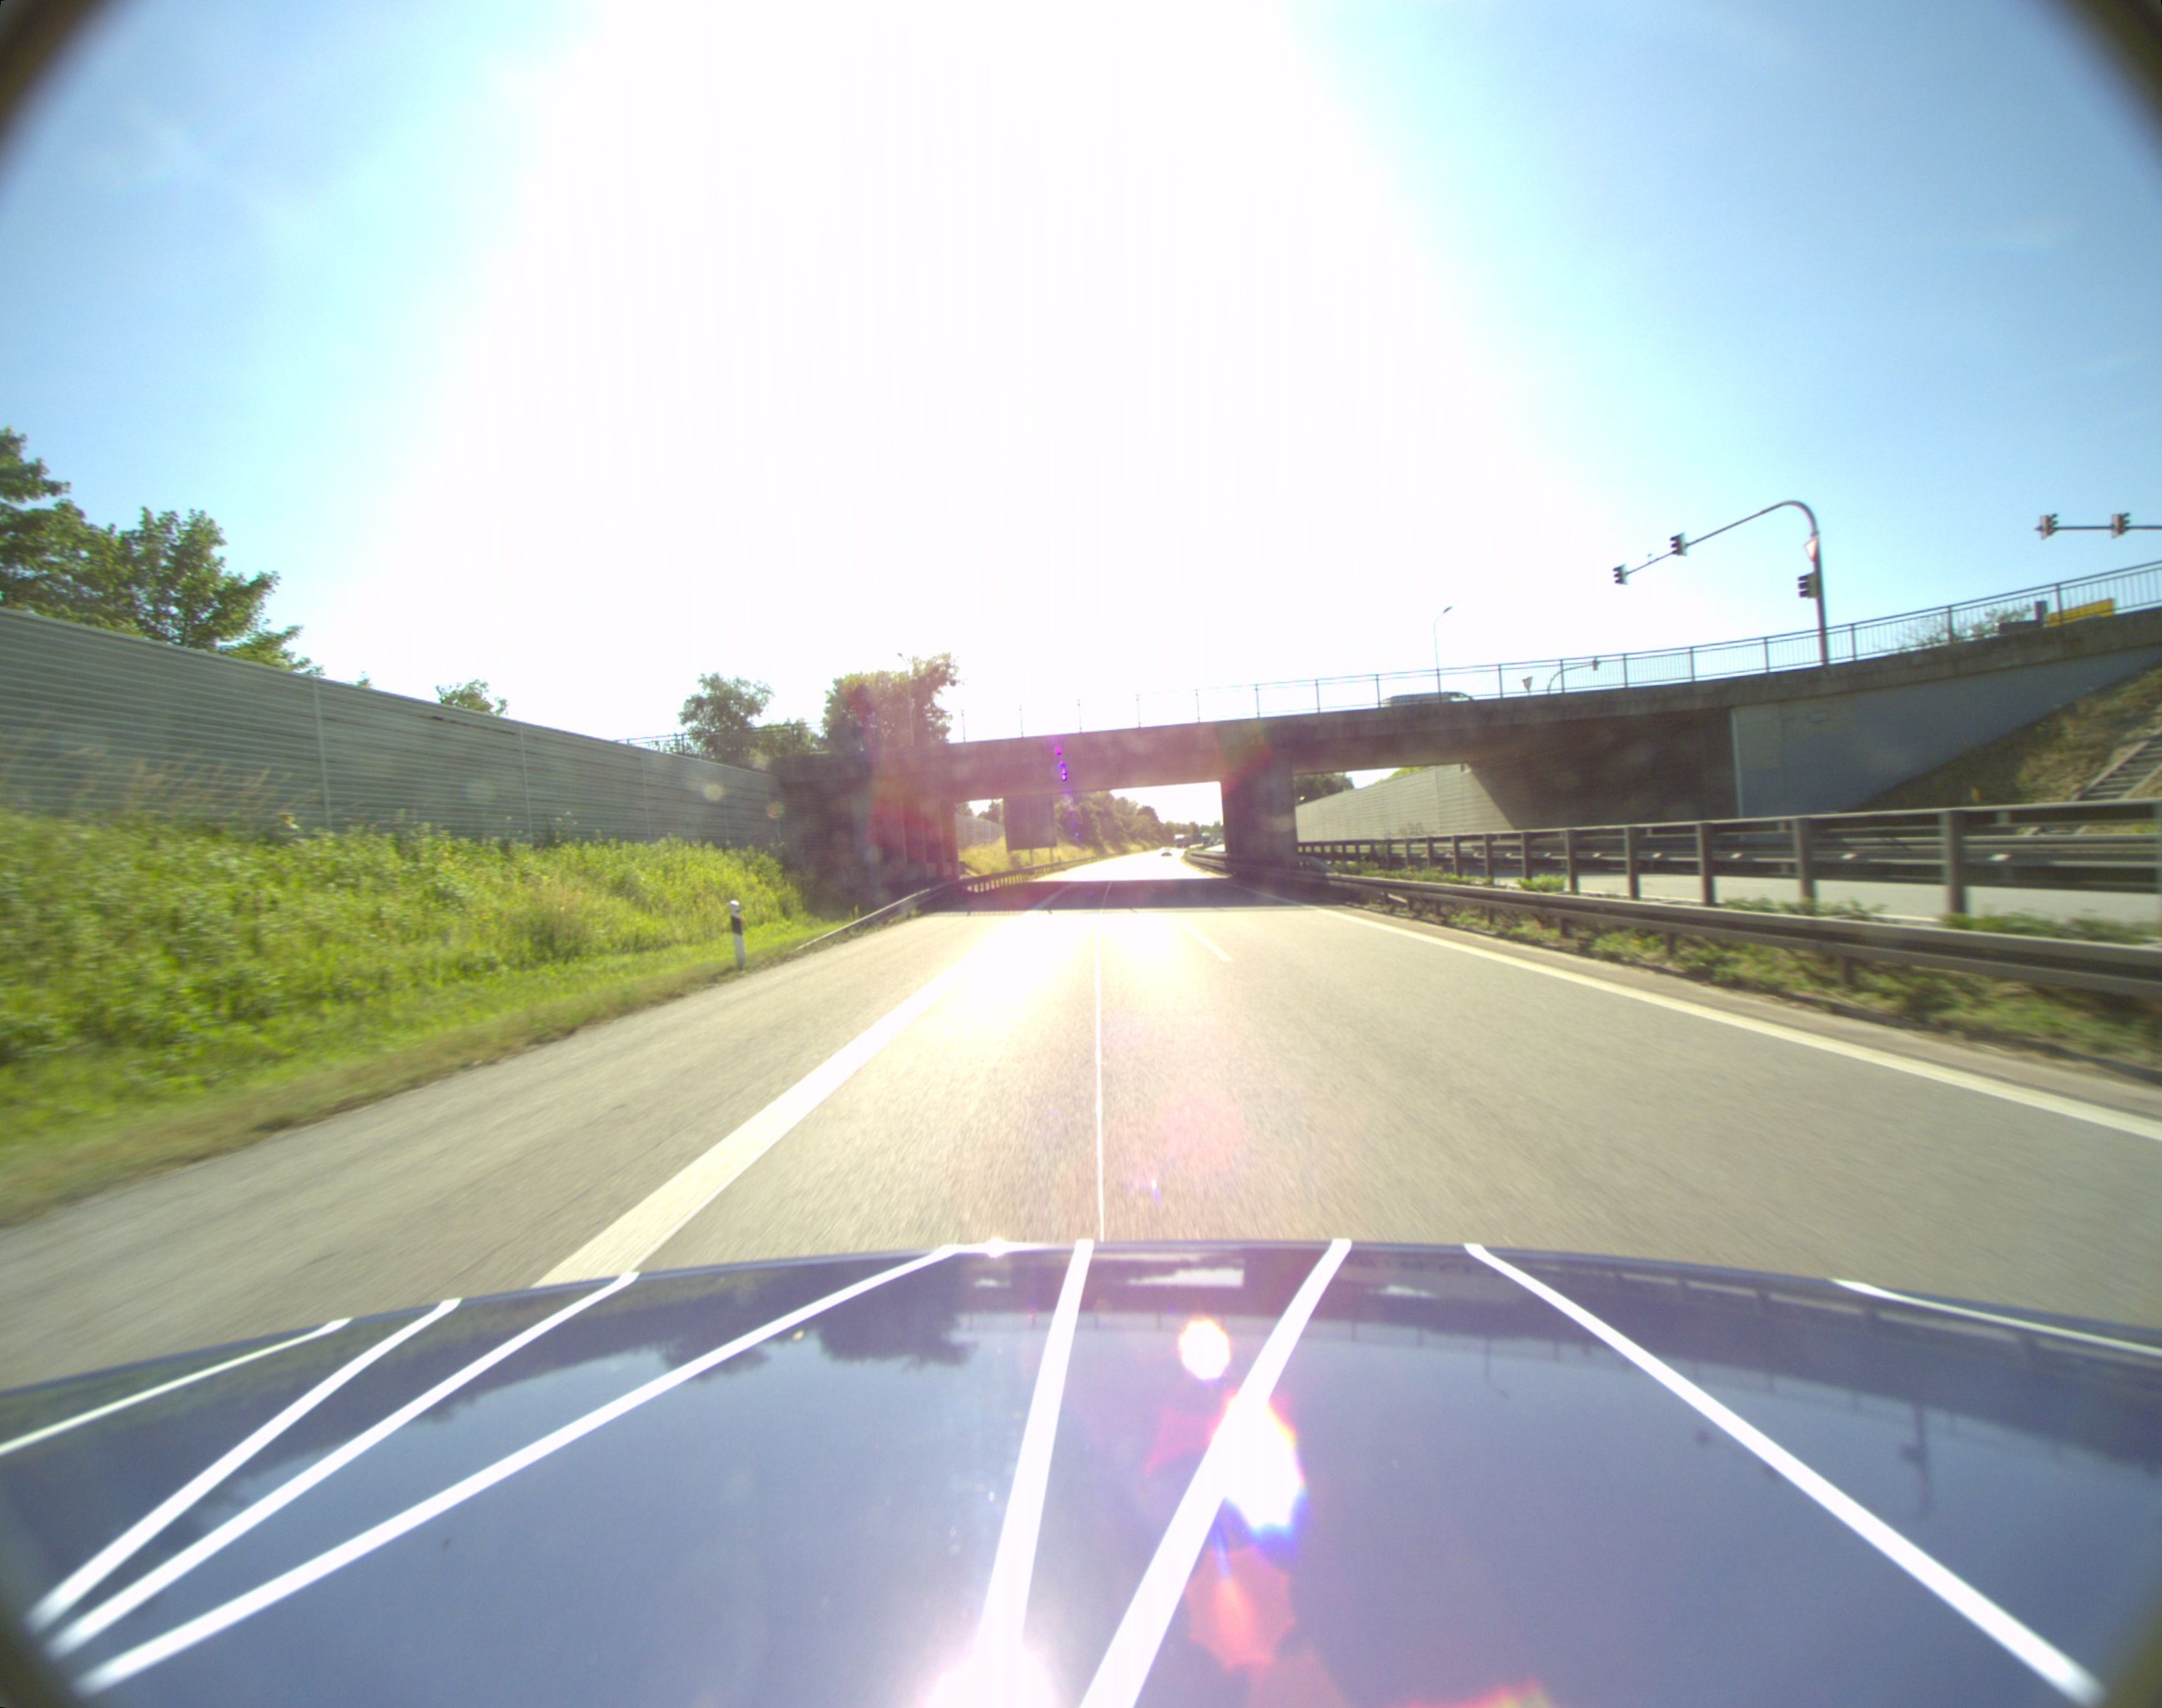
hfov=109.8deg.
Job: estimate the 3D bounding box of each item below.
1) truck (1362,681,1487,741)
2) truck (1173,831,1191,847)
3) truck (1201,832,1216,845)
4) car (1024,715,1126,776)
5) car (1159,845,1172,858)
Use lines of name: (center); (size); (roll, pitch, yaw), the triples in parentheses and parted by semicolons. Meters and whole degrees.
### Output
truck: (15.862, -6.597, 35.283); (4.867, 2.155, 2.000); (-2, 2, 4)
truck: (28.205, -4.176, 211.799); (3.430, 4.188, 12.096); (-2, 1, 15)
truck: (41.851, -5.171, 248.599); (3.430, 4.188, 12.097); (-2, 1, 16)
car: (-0.187, -4.487, 31.729); (3.996, 2.088, 1.739); (-3, 2, 5)
car: (13.314, -0.417, 119.632); (1.997, 2.002, 4.602); (1, 0, 7)
